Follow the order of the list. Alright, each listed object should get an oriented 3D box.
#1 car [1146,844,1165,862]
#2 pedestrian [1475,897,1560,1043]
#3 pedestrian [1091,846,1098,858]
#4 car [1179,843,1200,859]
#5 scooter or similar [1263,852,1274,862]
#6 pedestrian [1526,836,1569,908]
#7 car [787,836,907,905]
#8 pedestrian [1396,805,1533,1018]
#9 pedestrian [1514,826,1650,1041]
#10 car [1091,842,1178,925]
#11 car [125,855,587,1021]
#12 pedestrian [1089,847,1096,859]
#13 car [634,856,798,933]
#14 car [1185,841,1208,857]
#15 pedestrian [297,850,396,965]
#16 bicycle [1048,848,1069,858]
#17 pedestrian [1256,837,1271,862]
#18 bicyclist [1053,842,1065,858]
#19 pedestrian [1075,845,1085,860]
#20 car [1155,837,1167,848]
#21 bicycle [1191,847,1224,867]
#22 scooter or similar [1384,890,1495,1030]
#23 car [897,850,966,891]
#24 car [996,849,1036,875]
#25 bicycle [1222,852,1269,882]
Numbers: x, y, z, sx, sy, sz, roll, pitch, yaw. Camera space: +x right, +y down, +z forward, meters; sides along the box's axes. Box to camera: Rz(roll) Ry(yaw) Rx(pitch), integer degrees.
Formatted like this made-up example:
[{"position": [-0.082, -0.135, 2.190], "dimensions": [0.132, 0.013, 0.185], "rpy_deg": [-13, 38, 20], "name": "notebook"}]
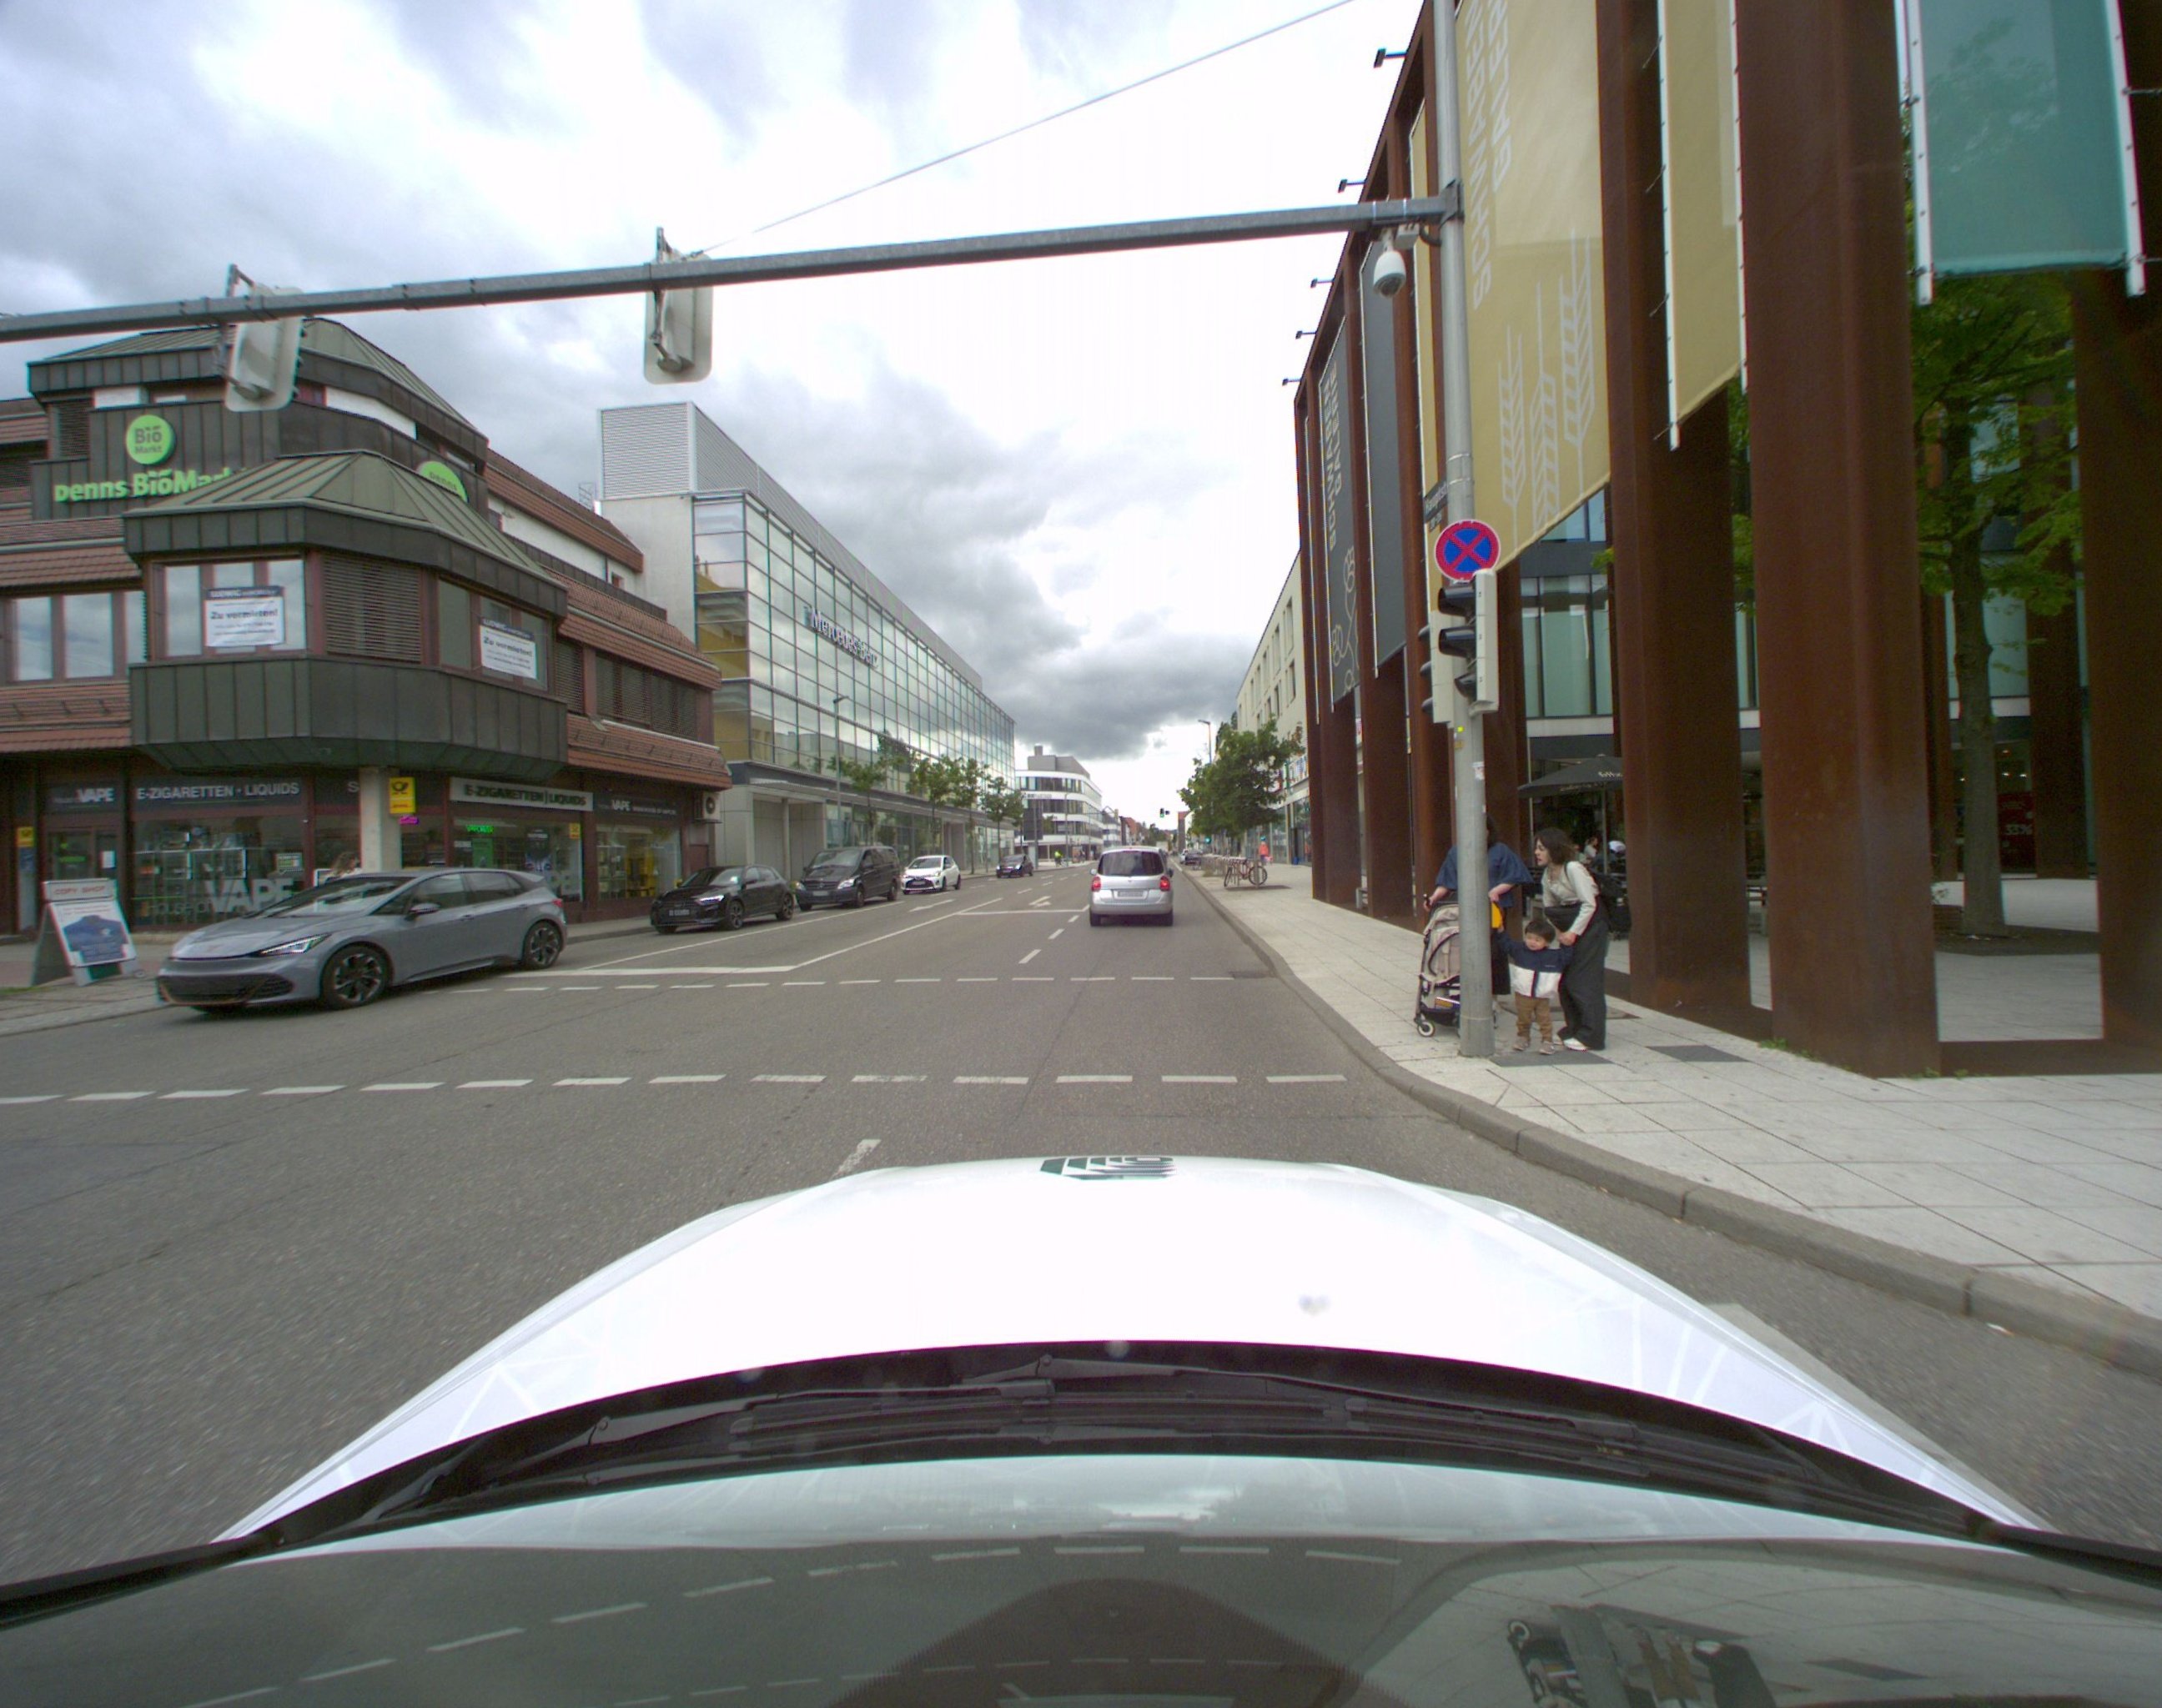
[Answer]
[{"position": [6.746, -0.106, 73.732], "dimensions": [1.661, 1.554, 3.648], "rpy_deg": [0, 1, 6], "name": "car"}, {"position": [2.972, 0.779, 5.572], "dimensions": [0.360, 0.924, 0.455], "rpy_deg": [-2, 1, 7], "name": "pedestrian"}, {"position": [2.101, -0.305, 125.779], "dimensions": [0.956, 1.833, 1.253], "rpy_deg": [-2, 1, 6], "name": "pedestrian"}, {"position": [10.480, -0.335, 78.658], "dimensions": [1.868, 1.508, 4.007], "rpy_deg": [0, 1, 6], "name": "car"}, {"position": [11.917, 0.203, 51.722], "dimensions": [0.547, 0.546, 0.643], "rpy_deg": [-5, 0, 6], "name": "scooter or similar"}, {"position": [8.205, 0.306, 14.338], "dimensions": [0.445, 1.220, 0.608], "rpy_deg": [-2, 1, 9], "name": "pedestrian"}, {"position": [-7.343, 0.445, 26.216], "dimensions": [1.856, 1.909, 5.122], "rpy_deg": [-3, 1, 5], "name": "car"}, {"position": [3.204, 0.435, 6.802], "dimensions": [0.861, 1.646, 0.684], "rpy_deg": [-1, 1, 39], "name": "pedestrian"}, {"position": [3.470, 0.523, 5.682], "dimensions": [0.598, 1.420, 0.583], "rpy_deg": [-2, 1, 7], "name": "pedestrian"}, {"position": [1.119, 0.540, 17.271], "dimensions": [1.662, 1.554, 3.645], "rpy_deg": [0, 1, 3], "name": "car"}, {"position": [-8.822, 0.876, 10.595], "dimensions": [1.750, 1.517, 4.393], "rpy_deg": [-3, 1, 5], "name": "car"}, {"position": [1.850, -0.206, 128.214], "dimensions": [0.956, 1.833, 1.253], "rpy_deg": [-2, 1, 6], "name": "pedestrian"}, {"position": [-8.157, 0.837, 18.631], "dimensions": [1.694, 1.443, 4.004], "rpy_deg": [-2, 1, 3], "name": "car"}, {"position": [10.210, -0.453, 72.055], "dimensions": [1.868, 1.335, 4.007], "rpy_deg": [0, 1, 6], "name": "car"}, {"position": [-11.338, 0.806, 12.599], "dimensions": [0.746, 1.693, 0.777], "rpy_deg": [-2, 1, 1], "name": "pedestrian"}, {"position": [-2.465, -0.103, 88.092], "dimensions": [1.012, 1.018, 3.102], "rpy_deg": [0, 0, -28], "name": "bicycle"}, {"position": [11.795, -0.297, 52.564], "dimensions": [0.707, 1.574, 0.814], "rpy_deg": [-5, 0, 6], "name": "pedestrian"}, {"position": [-2.404, -0.422, 87.980], "dimensions": [1.012, 1.660, 0.924], "rpy_deg": [0, 0, -28], "name": "bicyclist"}, {"position": [-0.115, -0.185, 107.738], "dimensions": [1.244, 1.833, 0.963], "rpy_deg": [-3, 1, -4], "name": "pedestrian"}, {"position": [15.317, -2.199, 155.327], "dimensions": [2.159, 2.013, 4.266], "rpy_deg": [-2, 1, 6], "name": "car"}, {"position": [7.442, 0.148, 48.078], "dimensions": [1.817, 1.074, 0.753], "rpy_deg": [-3, 1, 4], "name": "bicycle"}, {"position": [2.776, 0.783, 6.303], "dimensions": [0.627, 0.961, 0.625], "rpy_deg": [-1, 1, 39], "name": "scooter or similar"}, {"position": [-6.097, 0.618, 33.616], "dimensions": [1.652, 1.465, 4.007], "rpy_deg": [-3, 1, 6], "name": "car"}, {"position": [-4.082, 0.499, 51.961], "dimensions": [1.651, 1.480, 4.009], "rpy_deg": [-3, 1, 7], "name": "car"}, {"position": [5.669, 0.445, 28.164], "dimensions": [1.551, 0.992, 0.754], "rpy_deg": [-2, 1, 8], "name": "bicycle"}]
